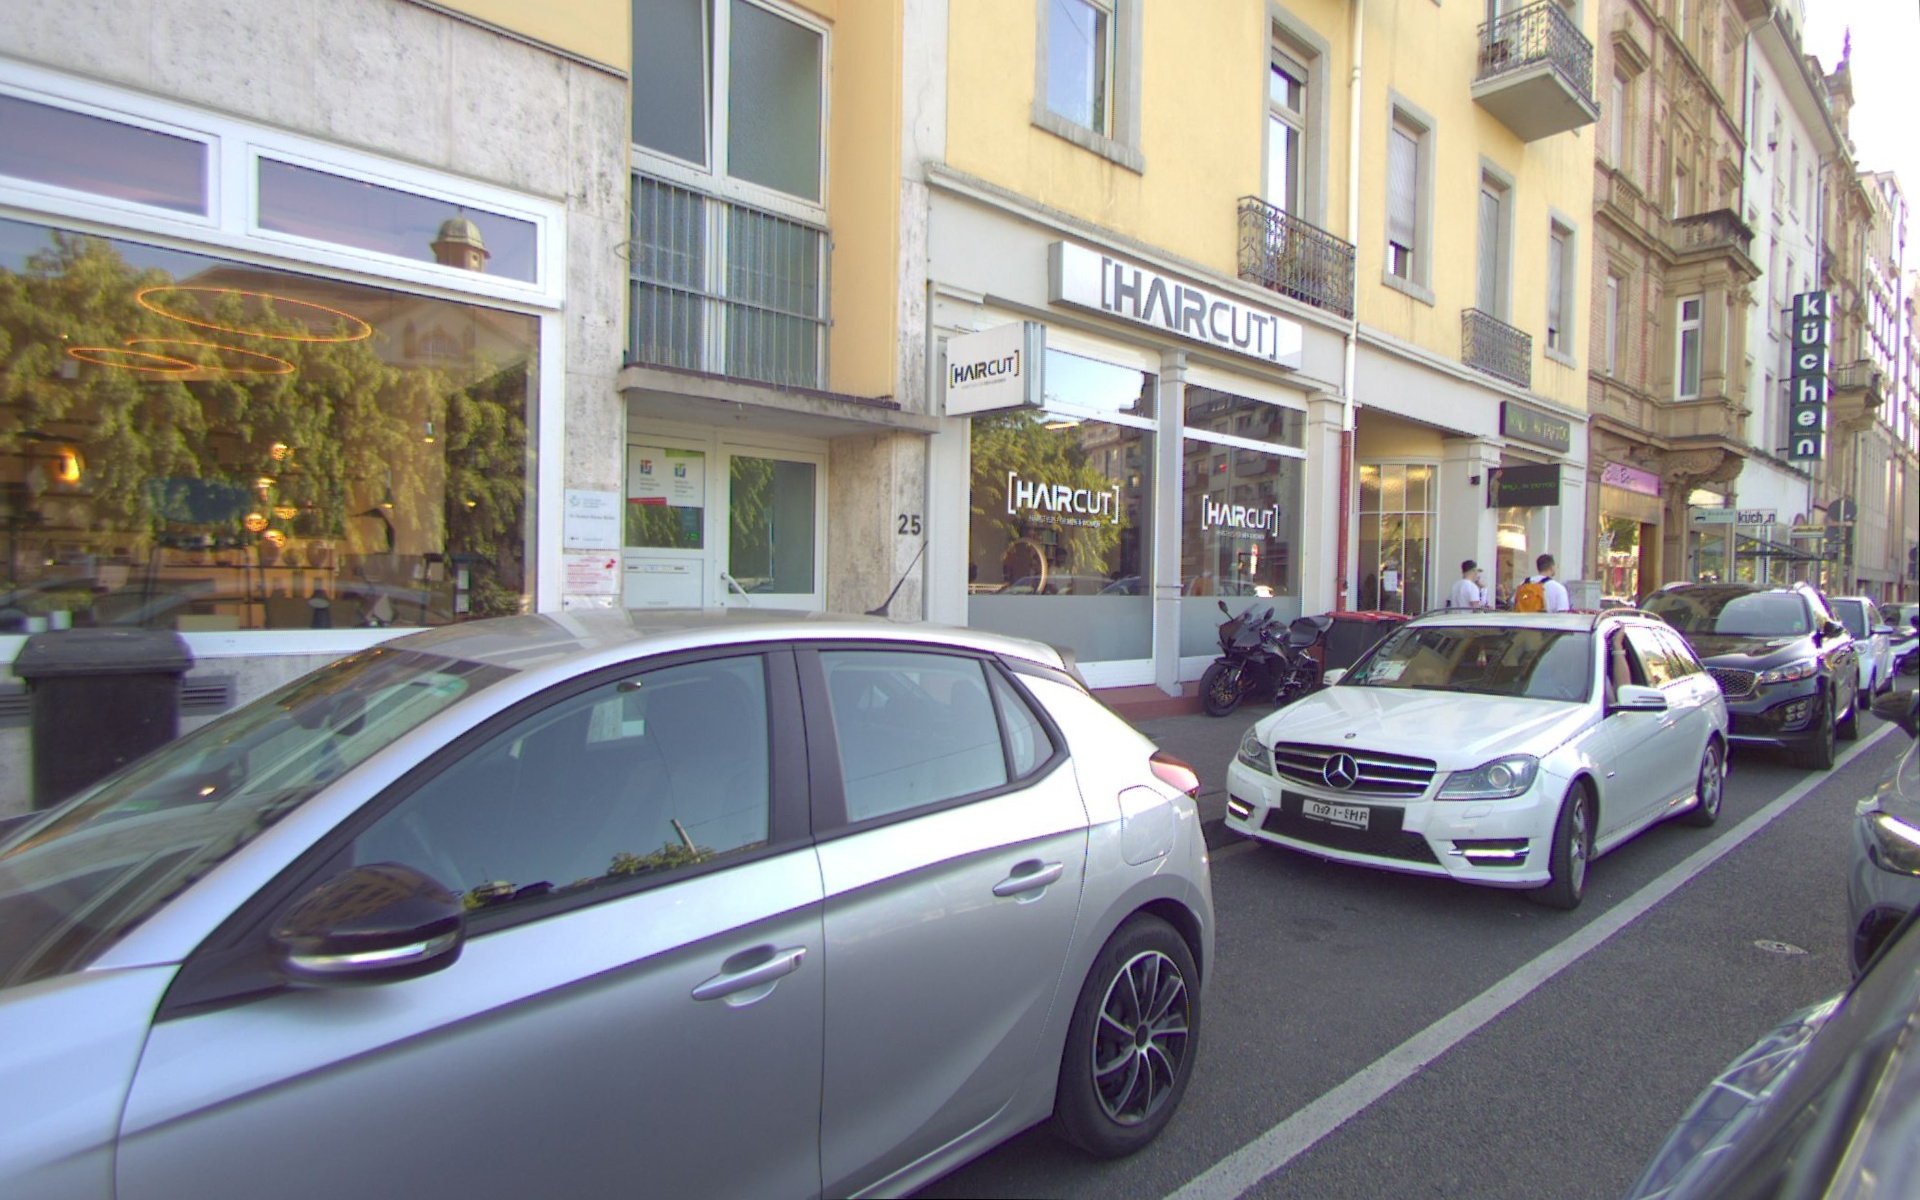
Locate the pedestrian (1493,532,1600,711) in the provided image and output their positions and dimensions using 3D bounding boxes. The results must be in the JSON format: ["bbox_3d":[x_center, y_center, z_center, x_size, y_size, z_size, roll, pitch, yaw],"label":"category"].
[{"bbox_3d":[6.415,0.213,11.055,0.809,1.845,0.967,0,1,44],"label":"pedestrian"}]

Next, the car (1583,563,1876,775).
[{"bbox_3d":[8.010,0.532,10.368,4.338,1.711,1.802,-1,0,-45],"label":"car"}]

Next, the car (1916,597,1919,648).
[{"bbox_3d":[26.609,0.575,26.929,3.306,1.334,1.459,-1,0,-42],"label":"car"}]

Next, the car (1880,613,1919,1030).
[{"bbox_3d":[5.398,0.751,4.377,4.397,1.385,1.767,-1,1,-43],"label":"car"}]

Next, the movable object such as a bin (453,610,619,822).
[{"bbox_3d":[-2.326,0.582,5.538,0.639,1.036,0.737,0,0,-41],"label":"movable object such as a bin"}]

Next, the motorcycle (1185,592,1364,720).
[{"bbox_3d":[3.302,0.524,10.505,2.073,1.144,0.735,-1,5,-41],"label":"motorcycle"}]

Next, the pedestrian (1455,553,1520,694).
[{"bbox_3d":[7.240,0.302,13.875,0.627,1.859,0.760,0,0,41],"label":"pedestrian"}]

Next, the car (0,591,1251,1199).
[{"bbox_3d":[-1.005,0.717,2.308,3.625,1.455,1.585,-1,0,-43],"label":"car"}]

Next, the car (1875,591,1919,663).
[{"bbox_3d":[21.898,0.567,22.811,3.736,1.509,1.691,-1,0,-45],"label":"car"}]

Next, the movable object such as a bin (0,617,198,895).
[{"bbox_3d":[-3.682,0.601,4.316,0.639,1.036,0.737,0,0,-41],"label":"movable object such as a bin"}]

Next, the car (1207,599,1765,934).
[{"bbox_3d":[3.533,0.710,6.389,4.301,1.389,1.671,-1,0,-41],"label":"car"}]

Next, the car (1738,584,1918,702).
[{"bbox_3d":[12.771,0.548,14.854,2.945,1.542,1.582,-1,0,-41],"label":"car"}]

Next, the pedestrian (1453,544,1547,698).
[{"bbox_3d":[6.845,0.255,12.870,0.961,1.900,0.532,0,0,18],"label":"pedestrian"}]
